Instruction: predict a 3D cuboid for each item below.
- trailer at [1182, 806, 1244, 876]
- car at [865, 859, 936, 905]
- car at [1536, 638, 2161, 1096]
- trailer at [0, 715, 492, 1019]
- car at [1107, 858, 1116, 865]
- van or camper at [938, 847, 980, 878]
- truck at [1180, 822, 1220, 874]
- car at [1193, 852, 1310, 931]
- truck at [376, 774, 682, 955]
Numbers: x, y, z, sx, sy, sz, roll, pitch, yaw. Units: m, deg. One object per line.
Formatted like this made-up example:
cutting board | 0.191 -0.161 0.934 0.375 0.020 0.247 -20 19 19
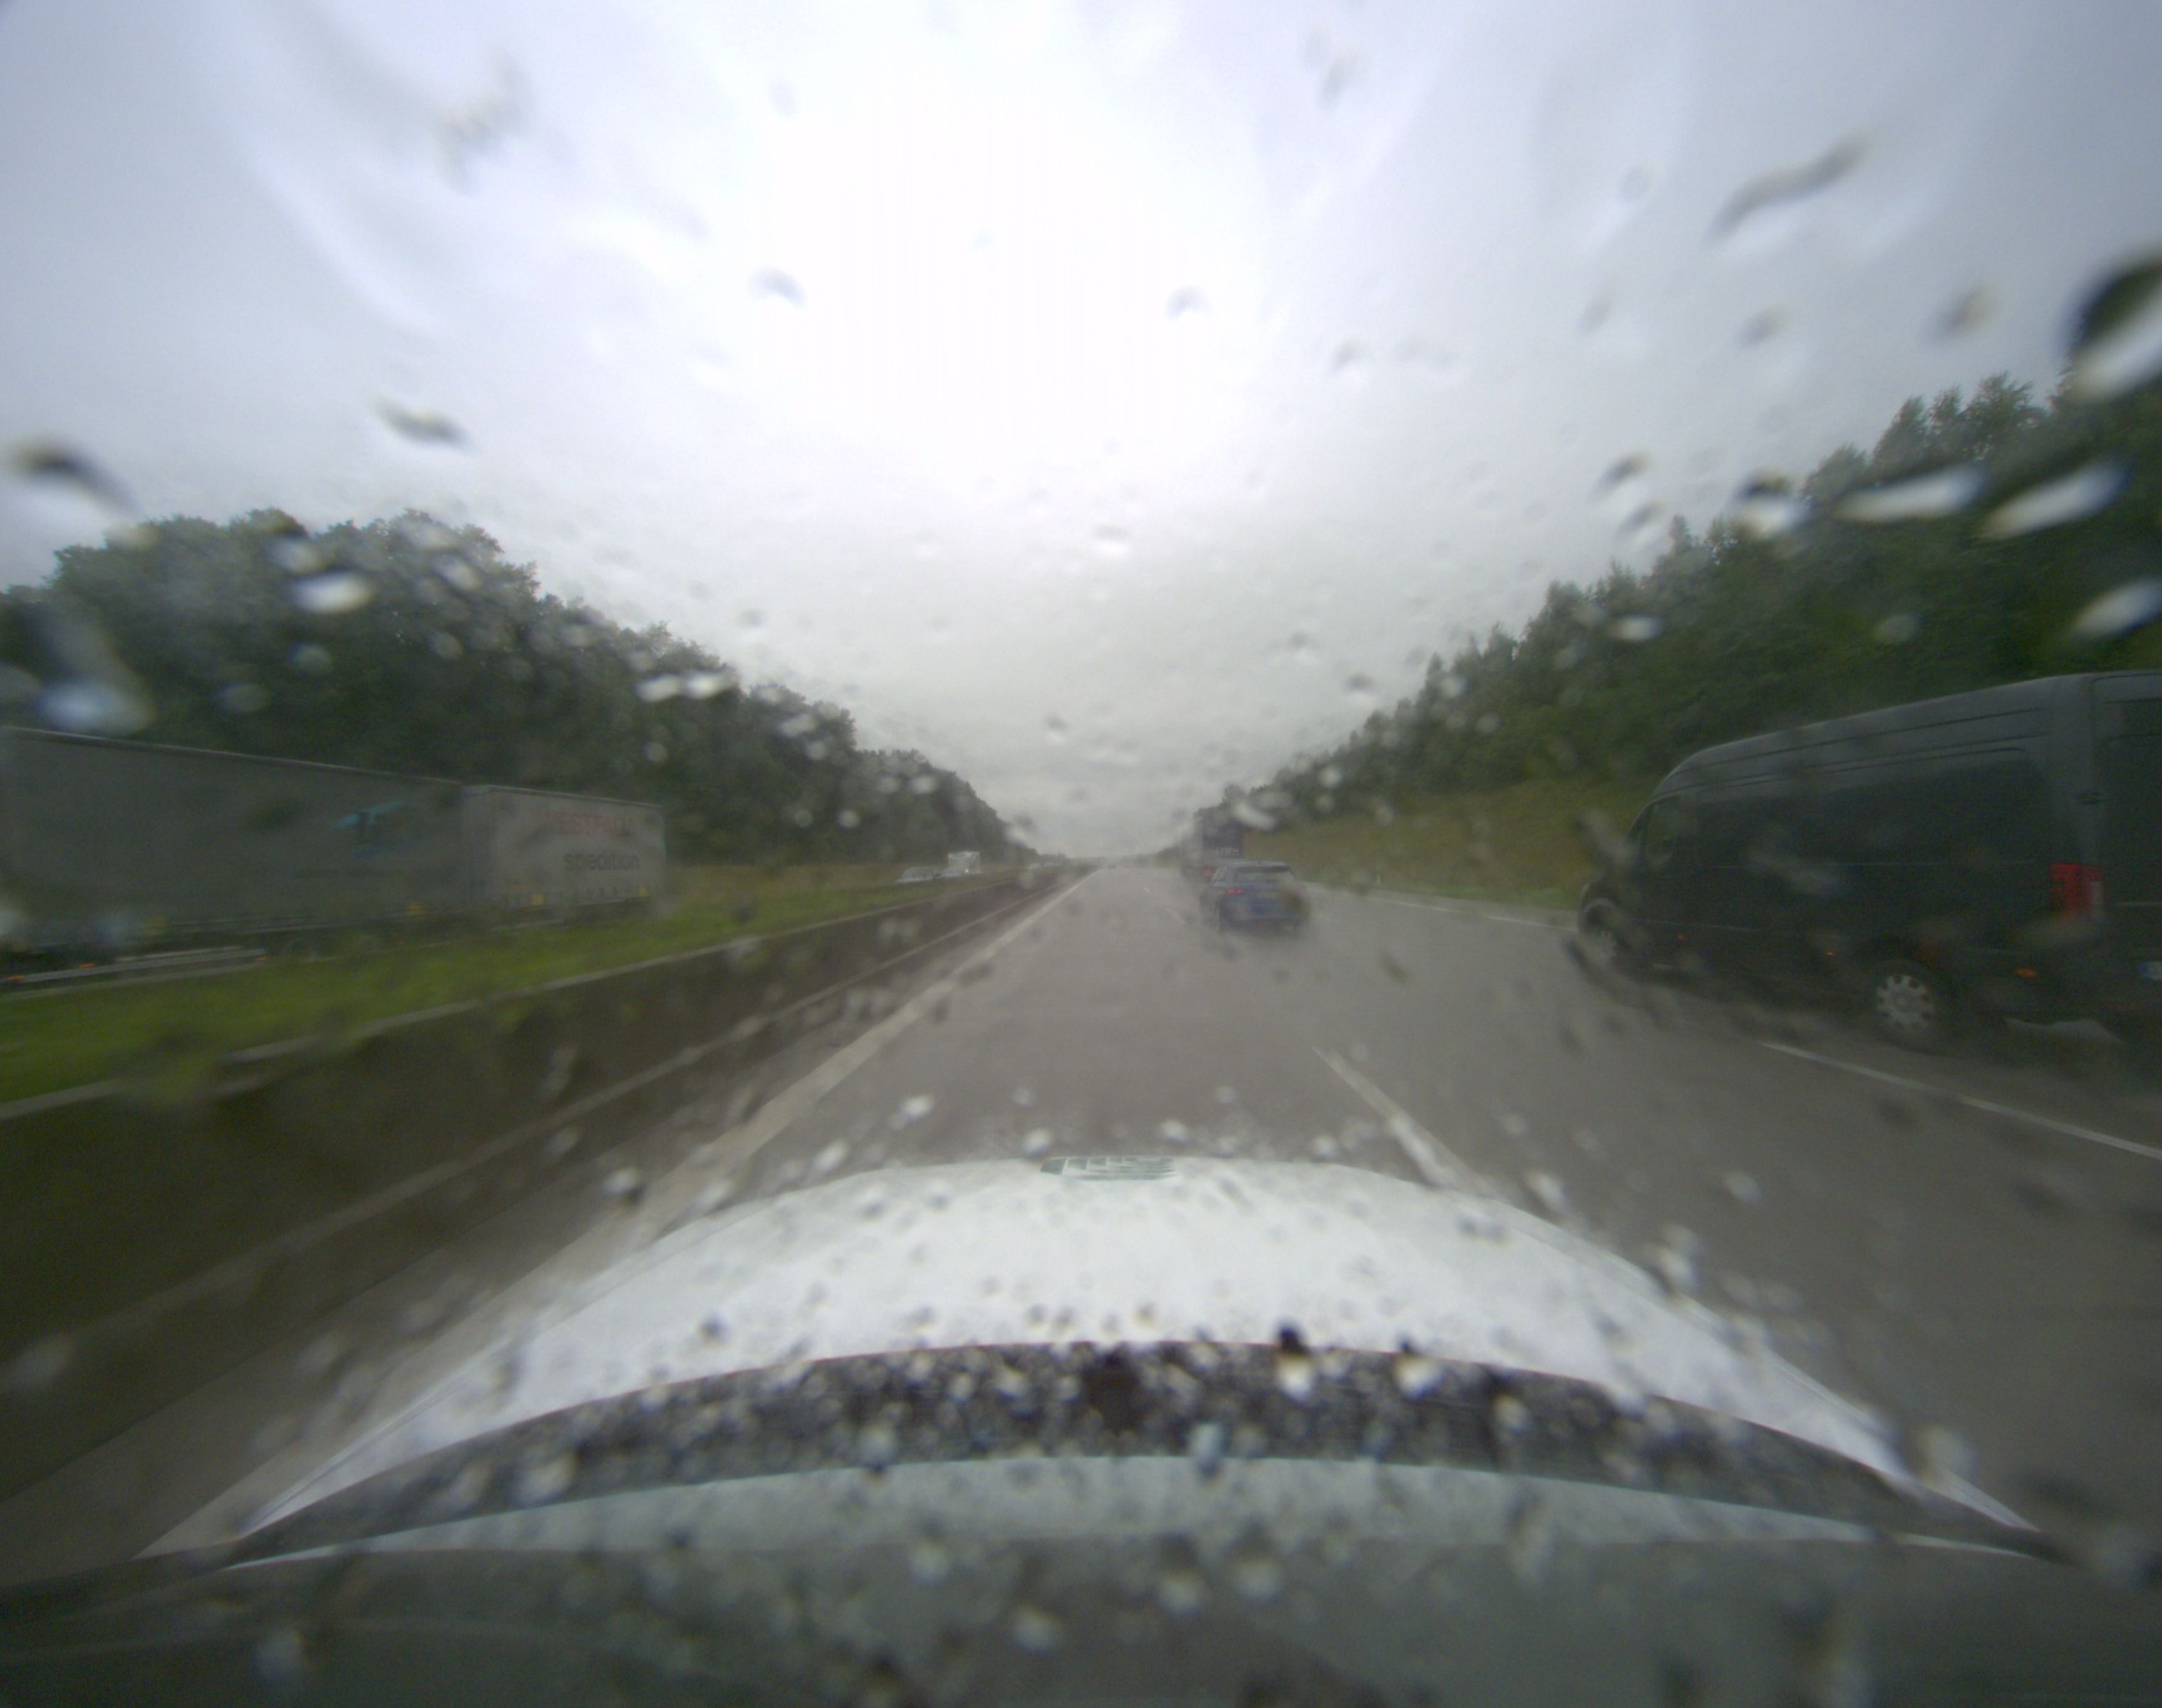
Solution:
trailer | 9.227 -0.738 58.740 2.696 4.380 15.213 -1 -1 3
car | -7.432 1.103 33.927 1.754 1.686 4.457 -2 0 2
car | 7.142 0.069 7.998 1.933 2.659 6.591 0 0 3
trailer | -15.539 0.233 14.105 2.577 4.046 10.379 -4 0 2
car | 6.021 1.469 163.125 1.723 1.331 4.431 -2 0 2
van or camper | -11.424 0.816 76.970 2.403 2.736 7.716 -3 -1 2
truck | 9.585 -0.423 65.943 2.626 3.954 5.689 -1 -1 3
car | 3.633 0.789 18.173 1.723 1.459 4.674 -2 -2 2
truck | -15.251 0.255 23.686 2.575 4.140 8.595 -4 0 2
